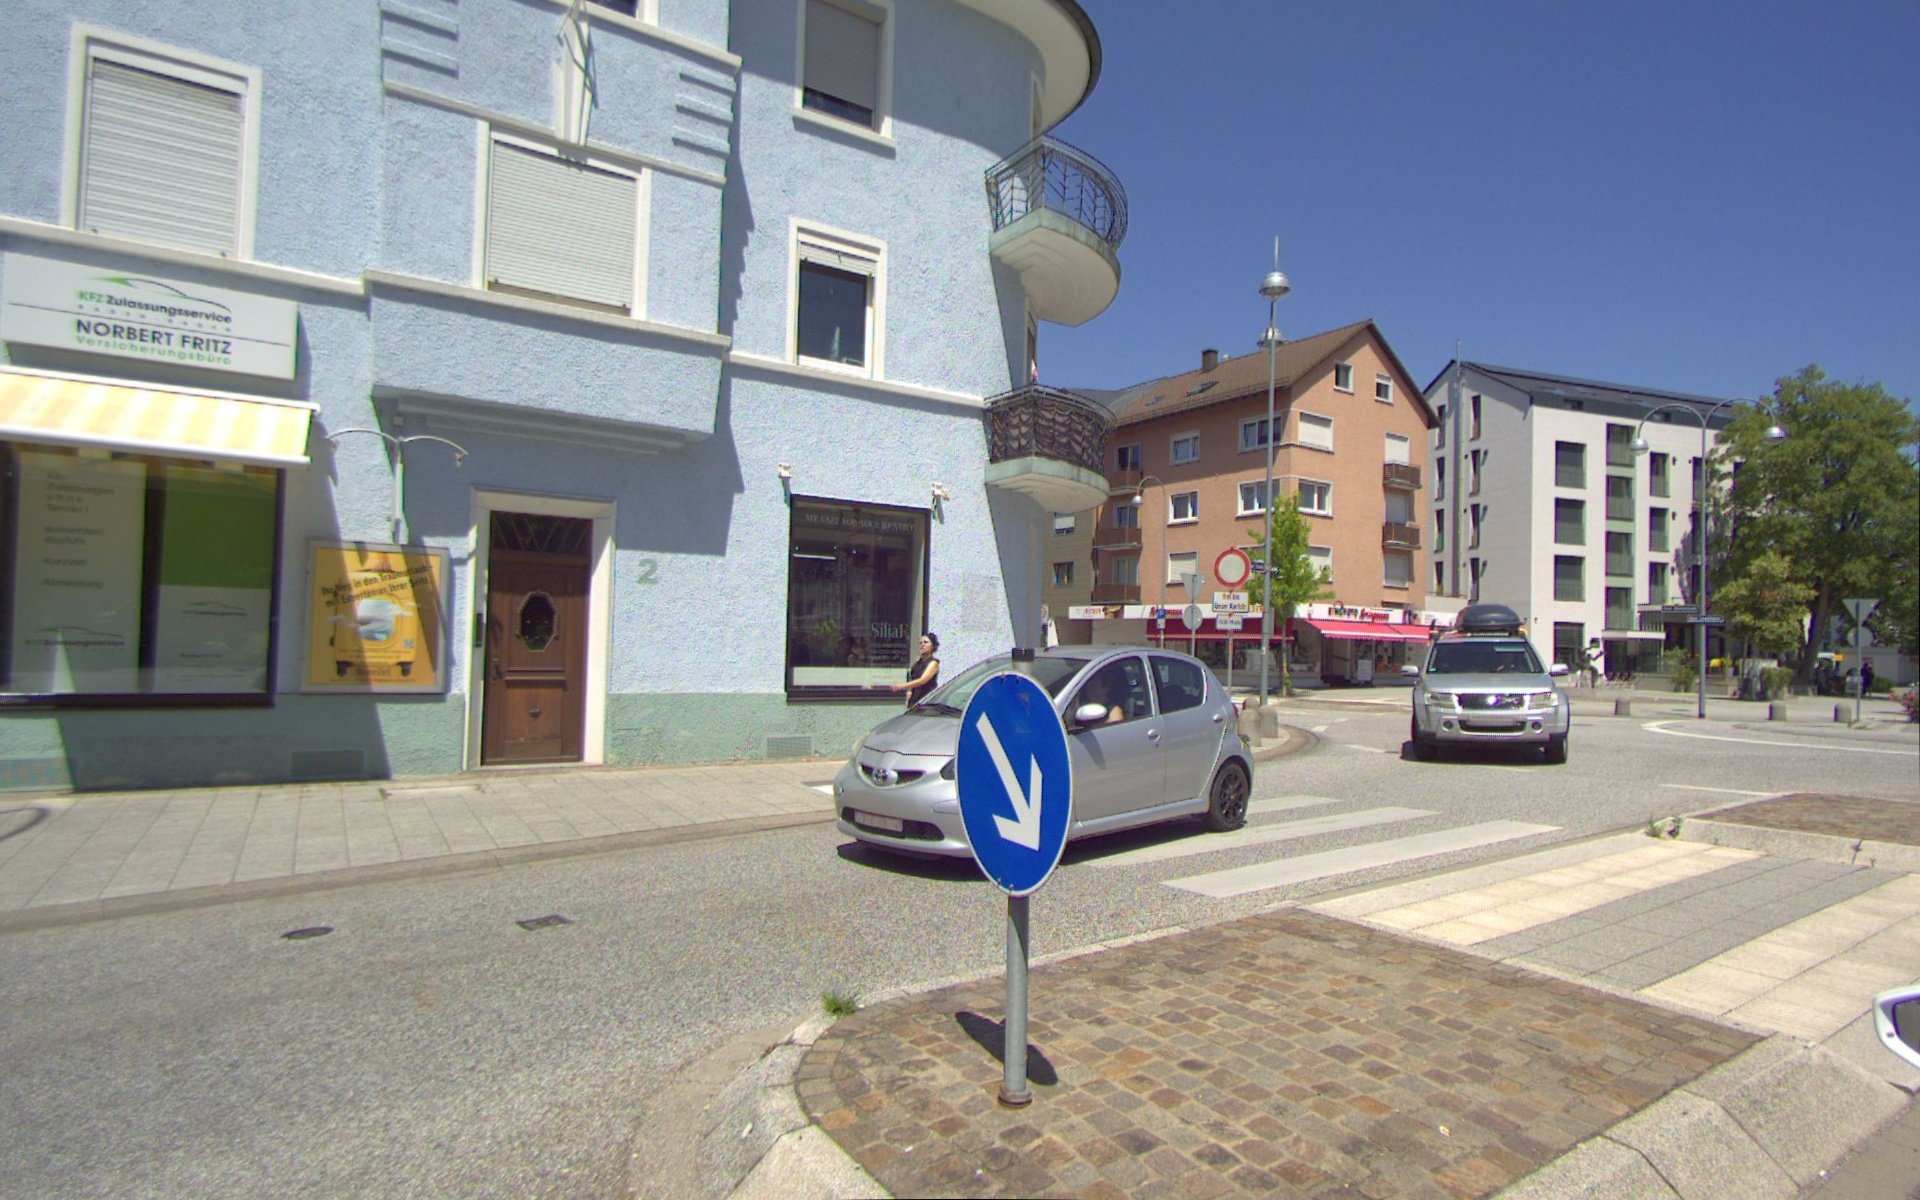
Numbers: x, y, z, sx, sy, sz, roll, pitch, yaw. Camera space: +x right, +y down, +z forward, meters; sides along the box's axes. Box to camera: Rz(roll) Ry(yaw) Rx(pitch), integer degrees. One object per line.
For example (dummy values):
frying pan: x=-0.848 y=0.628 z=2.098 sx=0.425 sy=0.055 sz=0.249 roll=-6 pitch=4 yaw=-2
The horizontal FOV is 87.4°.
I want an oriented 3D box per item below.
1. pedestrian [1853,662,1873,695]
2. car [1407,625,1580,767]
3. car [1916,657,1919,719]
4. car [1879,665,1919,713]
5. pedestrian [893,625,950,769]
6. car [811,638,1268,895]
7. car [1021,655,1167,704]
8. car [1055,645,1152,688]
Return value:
pedestrian: x=44.459 y=3.864 z=49.455 sx=0.553 sy=1.596 sz=0.534 roll=2 pitch=-3 yaw=-19
car: x=7.448 y=1.326 z=14.371 sx=1.803 sy=1.710 sz=4.200 roll=-3 pitch=-5 yaw=24
car: x=28.273 y=2.439 z=27.157 sx=3.994 sy=1.664 sz=1.798 roll=2 pitch=-3 yaw=-17
car: x=32.961 y=3.021 z=34.100 sx=3.965 sy=1.529 sz=1.978 roll=3 pitch=-2 yaw=-38
pedestrian: x=-0.439 y=1.107 z=11.631 sx=0.535 sy=1.606 sz=0.515 roll=0 pitch=-3 yaw=11
car: x=0.735 y=1.057 z=7.556 sx=3.448 sy=1.469 sz=1.560 roll=3 pitch=-5 yaw=-45
car: x=4.259 y=2.525 z=32.366 sx=4.443 sy=1.421 sz=1.771 roll=-3 pitch=-3 yaw=41
car: x=6.271 y=2.879 z=44.132 sx=3.946 sy=1.772 sz=1.791 roll=-2 pitch=-4 yaw=44
